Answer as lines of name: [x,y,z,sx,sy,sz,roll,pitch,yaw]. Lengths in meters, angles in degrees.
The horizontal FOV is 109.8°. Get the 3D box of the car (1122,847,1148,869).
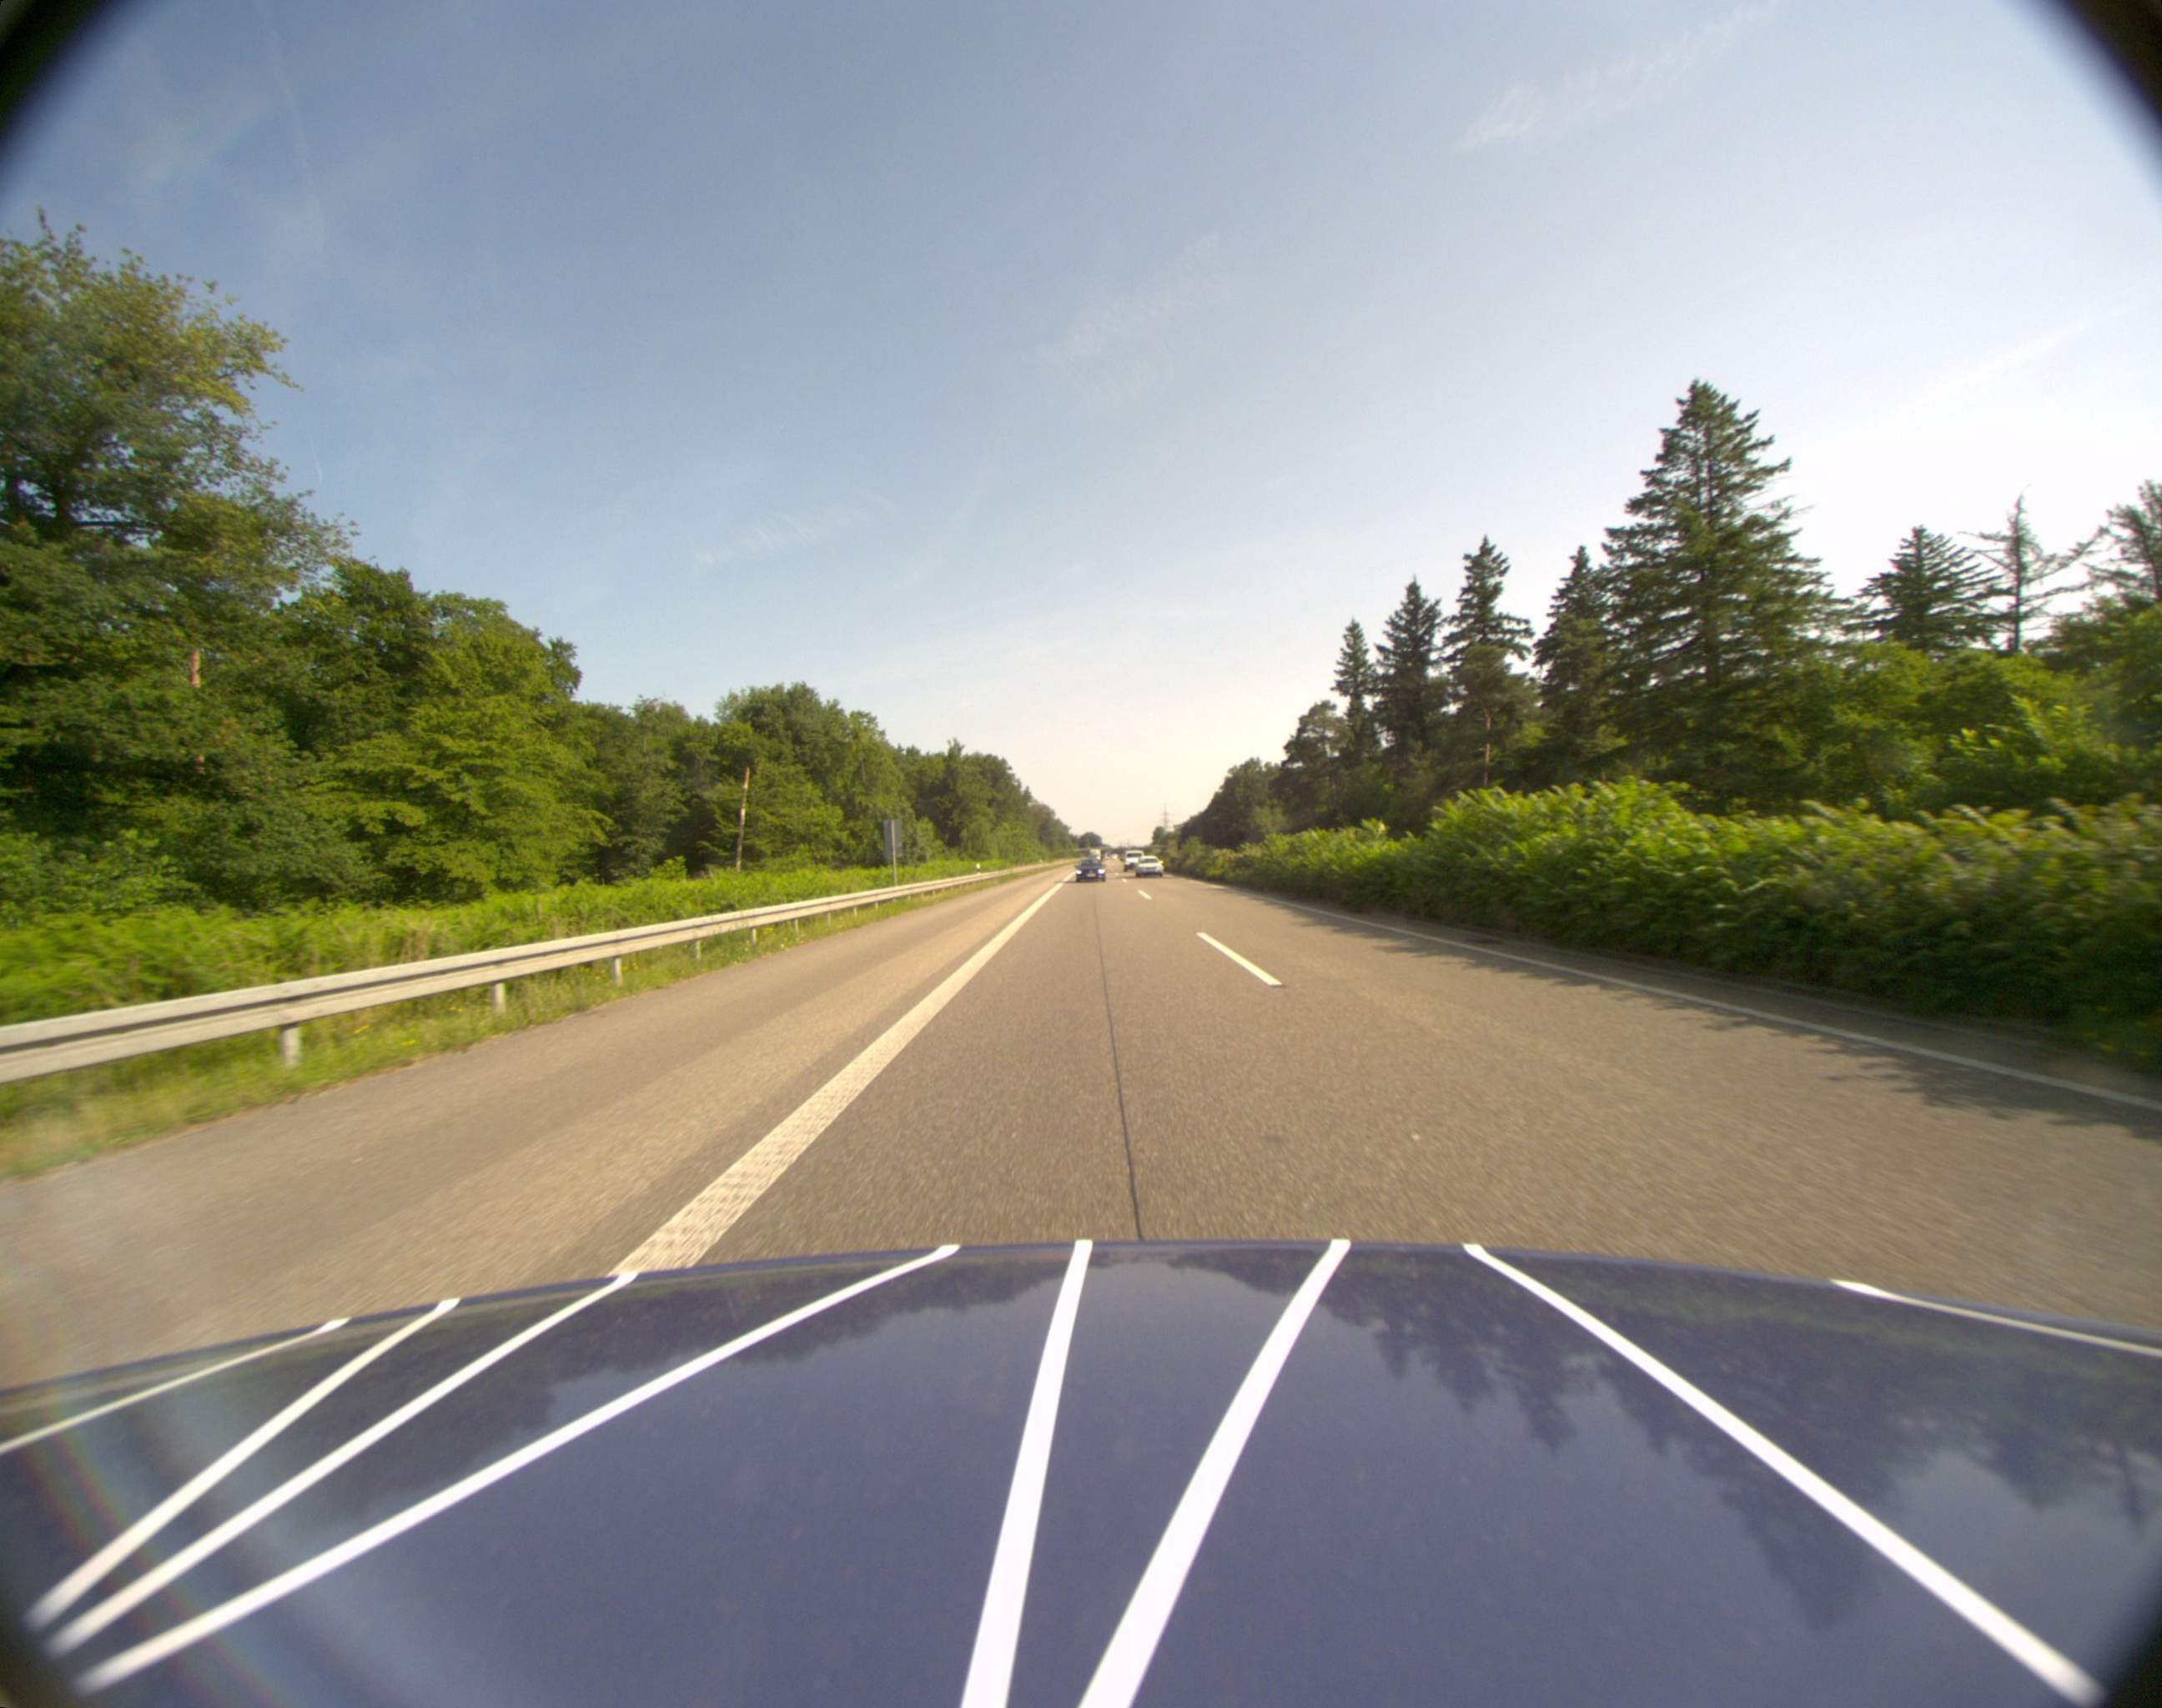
car: [5.096,0.380,72.102,1.912,1.934,4.705,-2,0,-1]

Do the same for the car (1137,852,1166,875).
car: [5.033,0.654,54.618,1.754,1.477,5.264,-2,0,2]

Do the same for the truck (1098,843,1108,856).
truck: [6.643,-1.370,232.638,2.695,4.062,12.363,-2,0,0]

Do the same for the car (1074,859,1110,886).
car: [0.603,0.991,41.300,1.789,1.285,3.538,-2,0,1]

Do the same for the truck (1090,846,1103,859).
truck: [3.632,-0.348,179.029,2.695,3.020,10.371,-2,0,0]
